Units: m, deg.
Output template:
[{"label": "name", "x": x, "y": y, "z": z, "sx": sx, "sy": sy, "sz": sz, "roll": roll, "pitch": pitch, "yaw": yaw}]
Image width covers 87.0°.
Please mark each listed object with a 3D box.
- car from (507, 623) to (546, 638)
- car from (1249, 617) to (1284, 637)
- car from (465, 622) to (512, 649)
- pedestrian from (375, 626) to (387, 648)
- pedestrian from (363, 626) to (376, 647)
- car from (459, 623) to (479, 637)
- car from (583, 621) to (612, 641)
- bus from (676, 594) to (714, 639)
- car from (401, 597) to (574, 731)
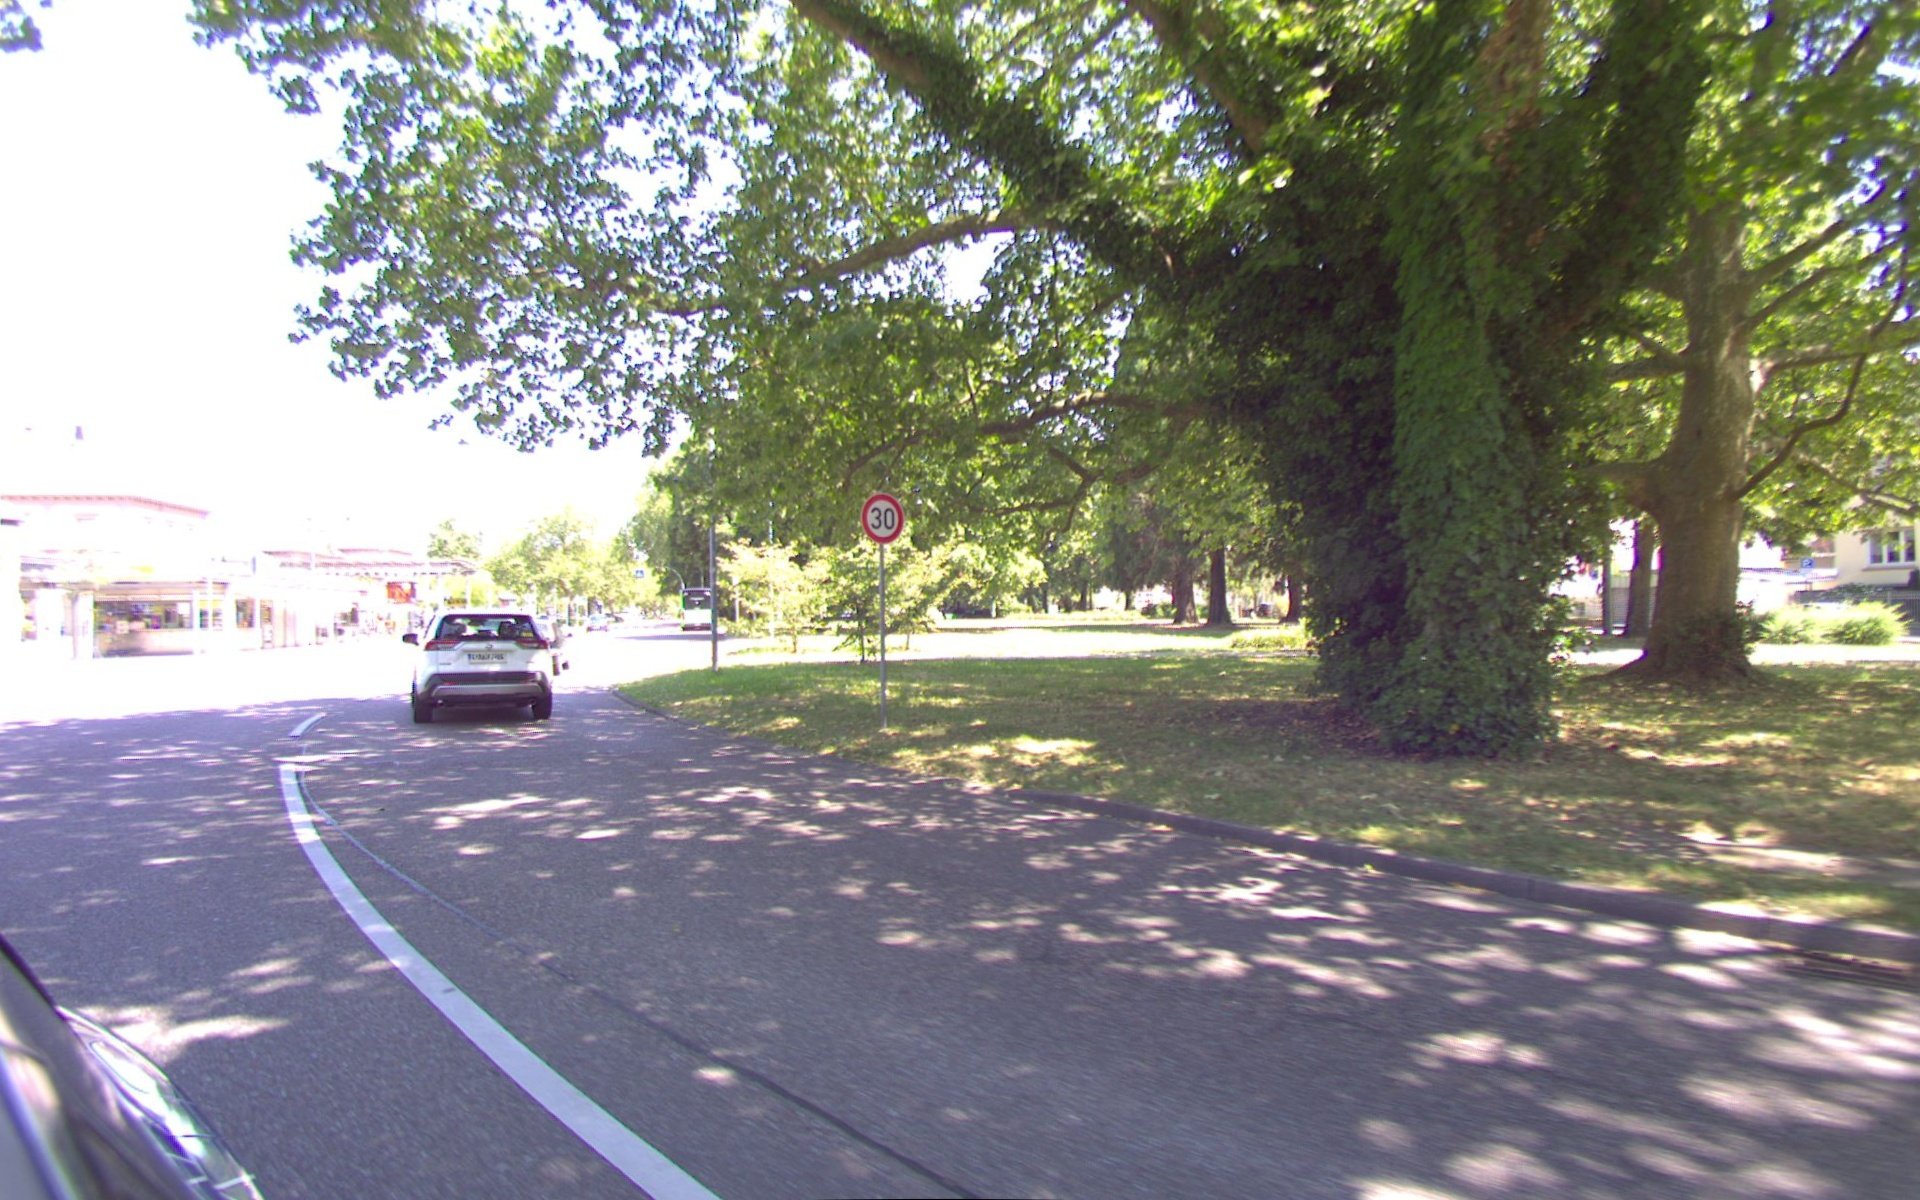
[{"label": "car", "x": -50.895, "y": 3.532, "z": 118.871, "sx": 3.932, "sy": 1.677, "sz": 2.006, "roll": -1, "pitch": -1, "yaw": -17}, {"label": "car", "x": 28.658, "y": 2.470, "z": 94.653, "sx": 1.972, "sy": 1.792, "sz": 3.999, "roll": -1, "pitch": -1, "yaw": 0}, {"label": "car", "x": -28.241, "y": 2.118, "z": 60.721, "sx": 1.749, "sy": 1.557, "sz": 4.194, "roll": 1, "pitch": -1, "yaw": -14}, {"label": "pedestrian", "x": -33.314, "y": 2.097, "z": 58.196, "sx": 0.495, "sy": 1.241, "sz": 0.515, "roll": -1, "pitch": -1, "yaw": -20}, {"label": "pedestrian", "x": -33.840, "y": 2.095, "z": 57.988, "sx": 0.482, "sy": 1.220, "sz": 0.473, "roll": -1, "pitch": -1, "yaw": -8}, {"label": "car", "x": -77.089, "y": 4.671, "z": 158.983, "sx": 1.966, "sy": 2.029, "sz": 4.010, "roll": -1, "pitch": -1, "yaw": -14}, {"label": "car", "x": -29.395, "y": 2.489, "z": 82.165, "sx": 1.749, "sy": 1.557, "sz": 4.194, "roll": 1, "pitch": -1, "yaw": -14}, {"label": "bus", "x": -21.541, "y": 1.363, "z": 82.212, "sx": 2.769, "sy": 3.328, "sz": 11.890, "roll": -1, "pitch": -1, "yaw": -15}, {"label": "car", "x": -7.488, "y": 0.944, "z": 15.787, "sx": 2.014, "sy": 1.761, "sz": 4.336, "roll": 2, "pitch": -3, "yaw": -30}]
